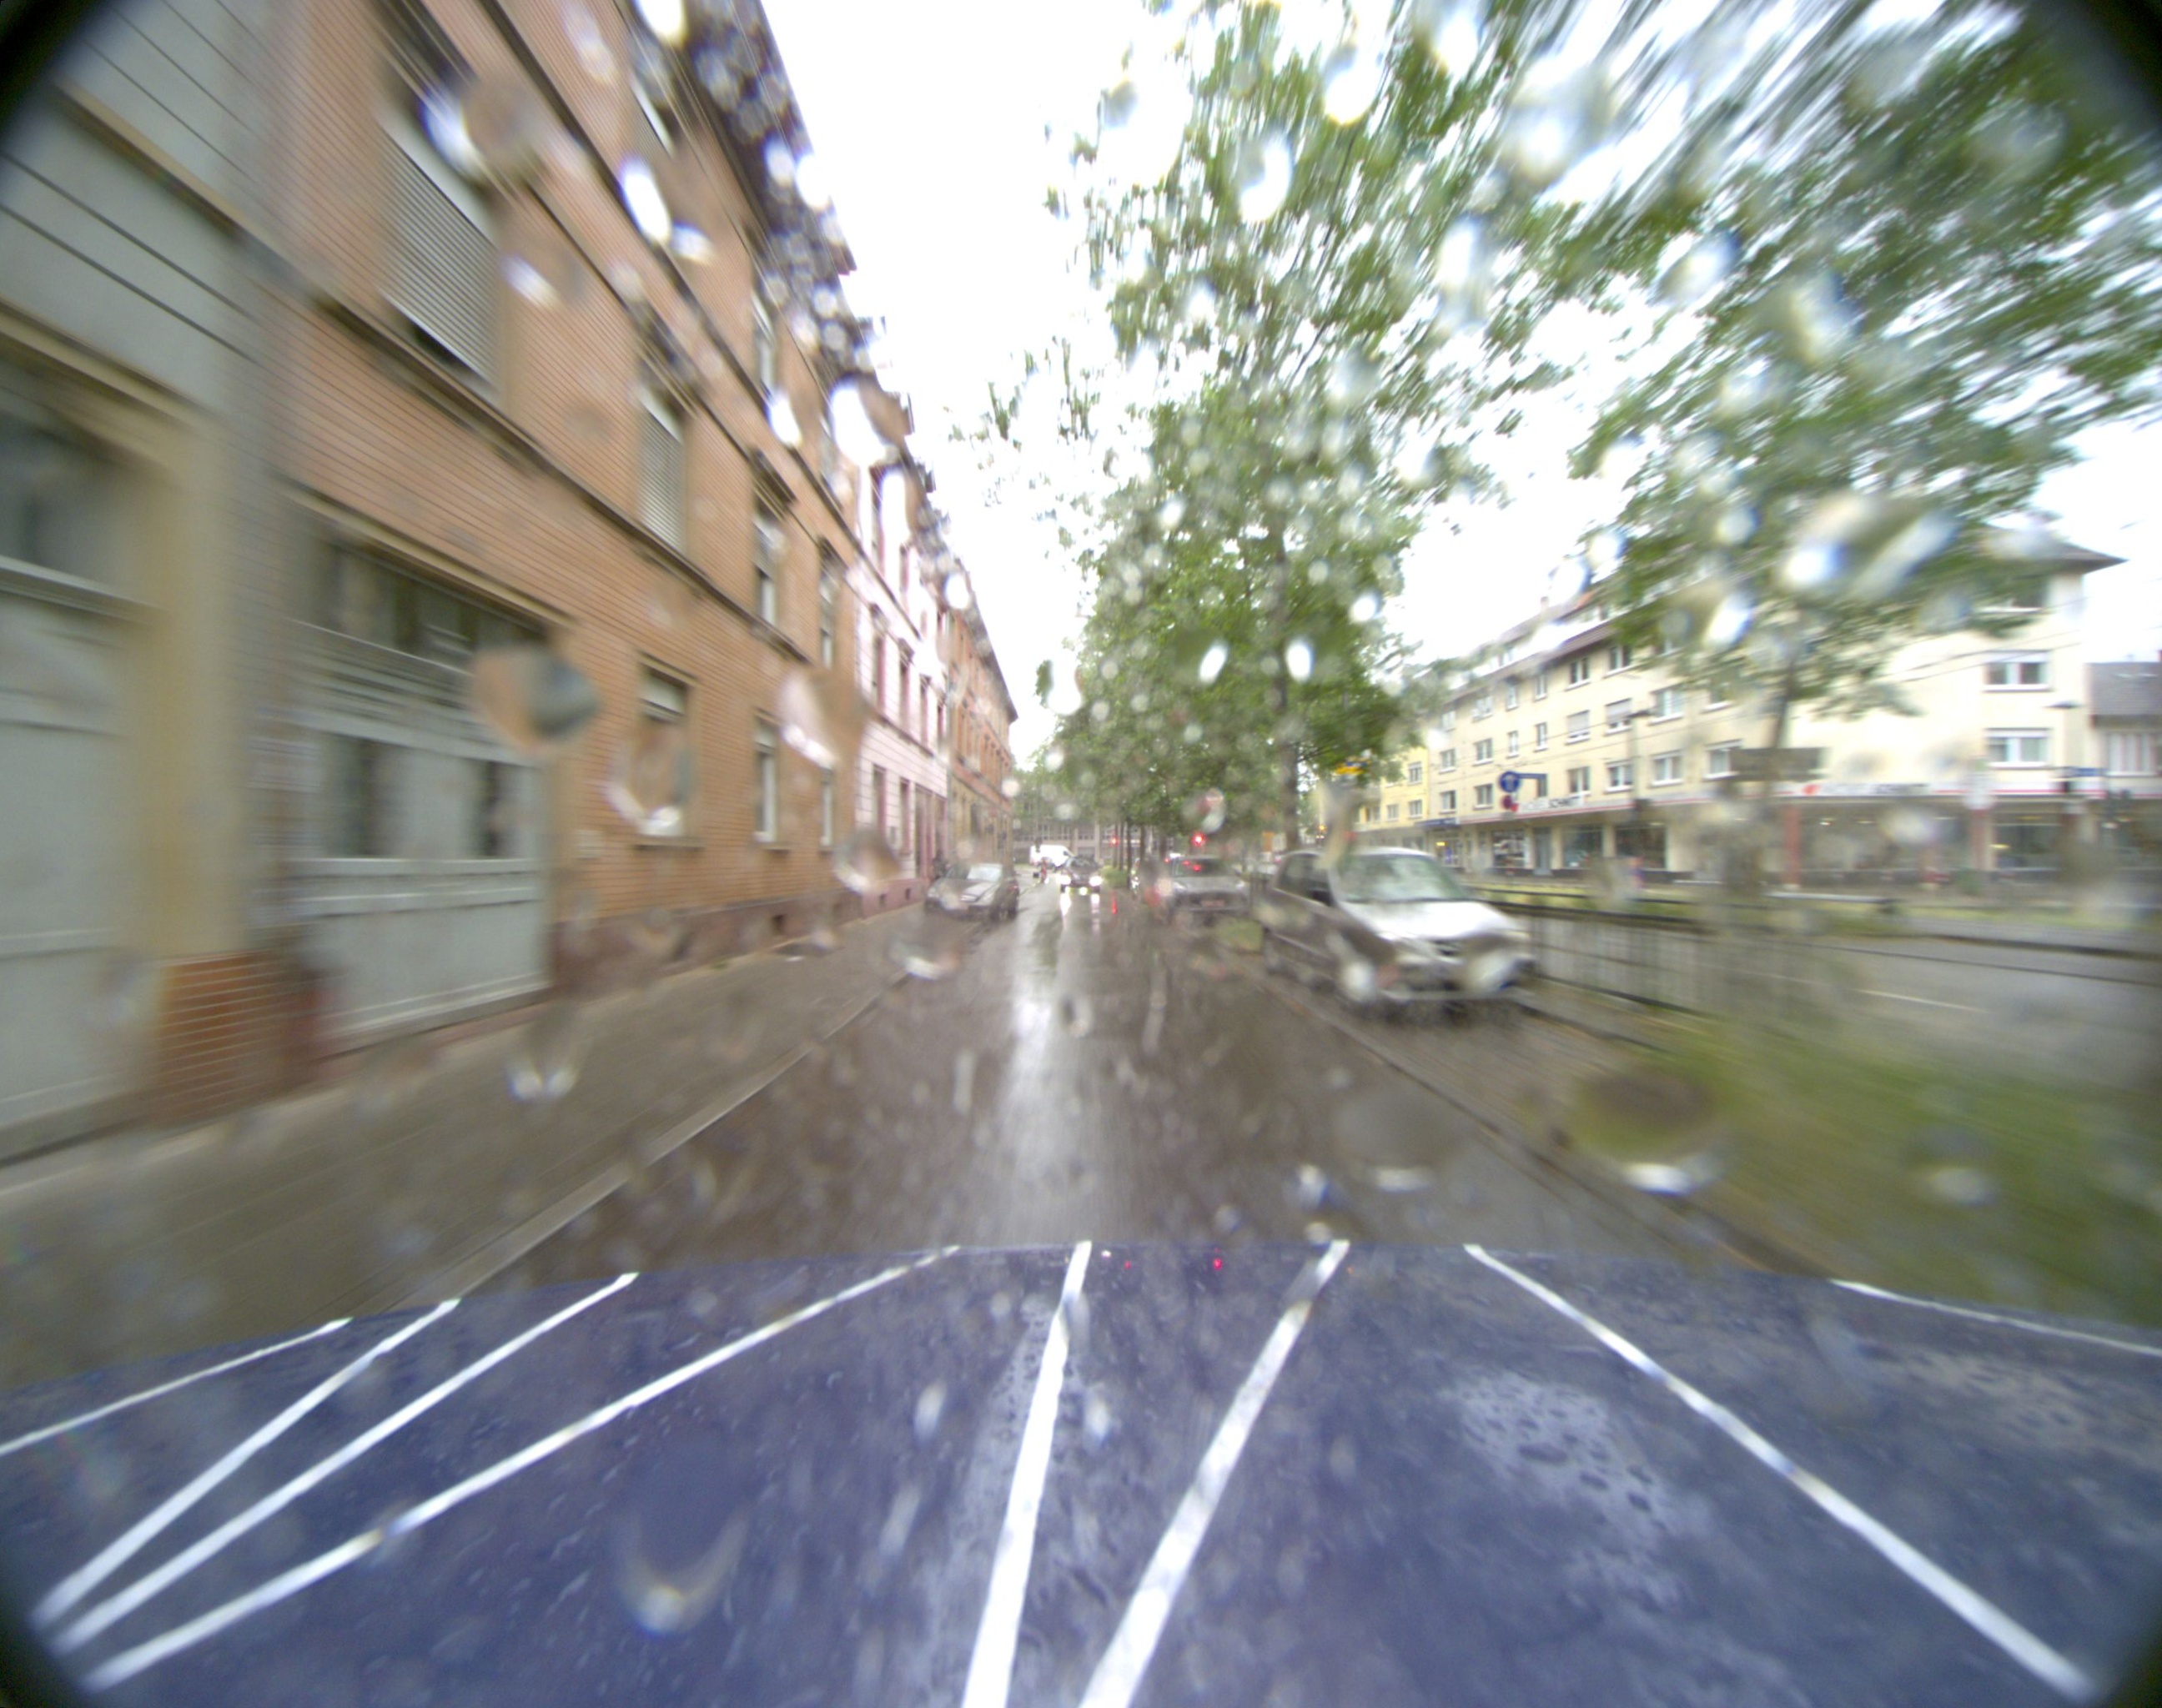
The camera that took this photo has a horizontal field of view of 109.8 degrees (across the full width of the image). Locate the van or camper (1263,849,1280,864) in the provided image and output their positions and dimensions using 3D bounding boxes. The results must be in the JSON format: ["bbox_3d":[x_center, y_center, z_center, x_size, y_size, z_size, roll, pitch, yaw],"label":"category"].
[{"bbox_3d":[33.061,0.436,131.988,2.177,2.457,5.979,0,1,20],"label":"van or camper"}]

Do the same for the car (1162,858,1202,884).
[{"bbox_3d":[5.877,0.979,44.594,1.746,1.389,4.232,-1,0,0],"label":"car"}]

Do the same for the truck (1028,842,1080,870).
[{"bbox_3d":[-3.219,0.174,90.321,5.855,3.152,2.699,1,2,-10],"label":"truck"}]

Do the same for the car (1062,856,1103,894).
[{"bbox_3d":[0.036,0.961,37.567,1.913,1.637,4.678,0,1,-1],"label":"car"}]

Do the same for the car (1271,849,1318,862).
[{"bbox_3d":[26.565,0.166,94.492,5.338,1.583,1.946,-1,0,-12],"label":"car"}]

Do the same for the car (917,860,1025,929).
[{"bbox_3d":[-2.655,0.919,19.460,1.818,1.412,4.697,3,0,2],"label":"car"}]

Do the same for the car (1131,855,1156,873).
[{"bbox_3d":[5.420,0.829,66.389,1.739,1.480,4.500,-1,0,0],"label":"car"}]

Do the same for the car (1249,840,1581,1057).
[{"bbox_3d":[3.073,0.767,7.872,1.628,1.672,3.658,-1,-1,-3],"label":"car"}]

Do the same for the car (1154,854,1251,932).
[{"bbox_3d":[2.762,0.812,18.134,1.703,1.626,4.354,0,0,1],"label":"car"}]

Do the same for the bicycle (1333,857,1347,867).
[{"bbox_3d":[24.147,0.779,70.845,0.613,0.891,2.046,0,0,0],"label":"bicycle"}]

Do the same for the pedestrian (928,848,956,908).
[{"bbox_3d":[-4.037,0.689,22.091,0.640,1.675,0.603,2,1,-1],"label":"pedestrian"}]

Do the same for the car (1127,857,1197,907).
[{"bbox_3d":[2.760,0.920,26.787,1.833,1.495,4.612,-2,0,-1],"label":"car"}]

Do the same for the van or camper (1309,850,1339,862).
[{"bbox_3d":[42.809,0.354,133.869,4.648,2.063,2.001,1,1,9],"label":"van or camper"}]

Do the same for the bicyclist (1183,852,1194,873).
[{"bbox_3d":[9.038,0.695,63.785,0.714,1.706,0.889,0,2,-2],"label":"bicyclist"}]
